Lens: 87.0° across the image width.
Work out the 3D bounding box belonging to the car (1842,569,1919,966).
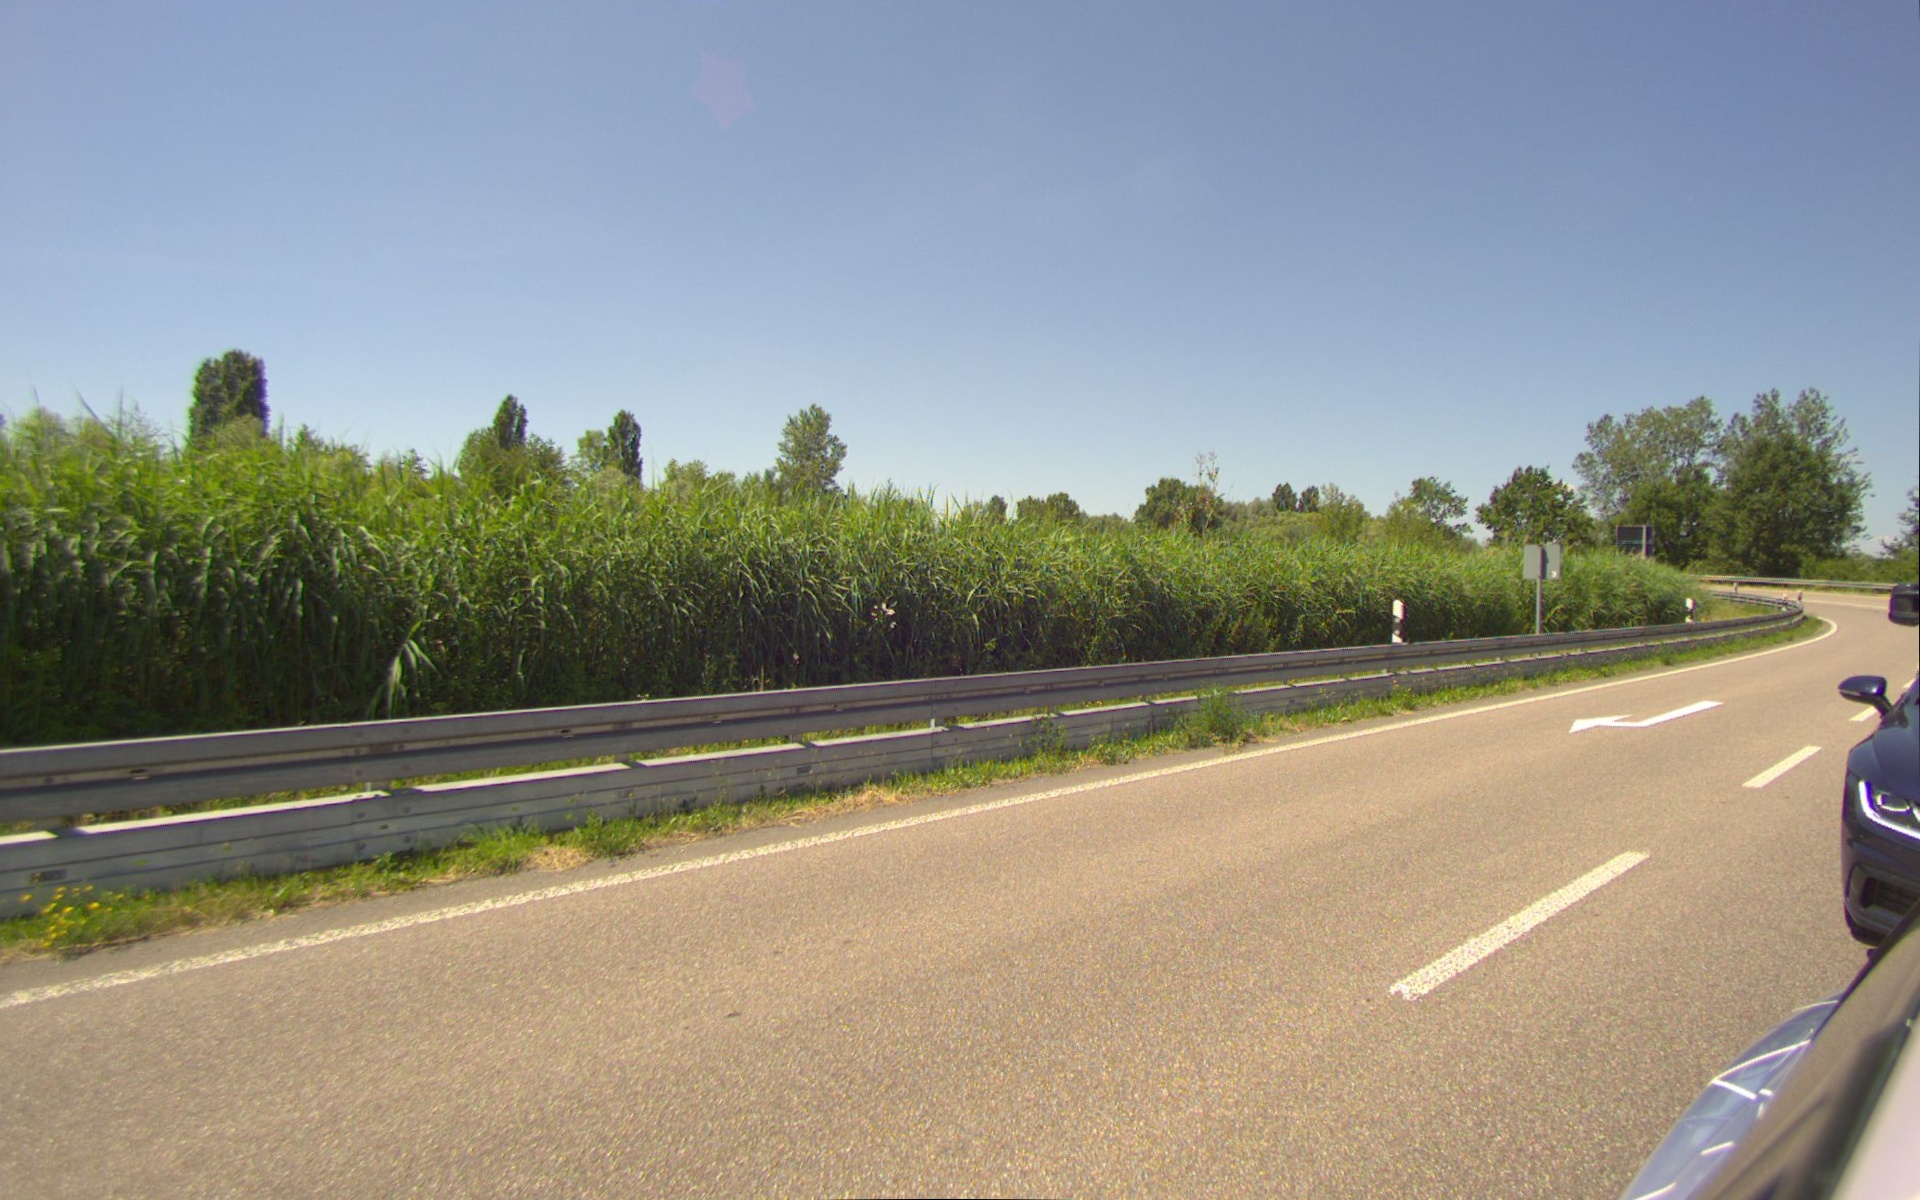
[{"bbox_3d":[5.662,0.615,4.674,4.338,1.481,1.818,-1,1,-41],"label":"car"}]
